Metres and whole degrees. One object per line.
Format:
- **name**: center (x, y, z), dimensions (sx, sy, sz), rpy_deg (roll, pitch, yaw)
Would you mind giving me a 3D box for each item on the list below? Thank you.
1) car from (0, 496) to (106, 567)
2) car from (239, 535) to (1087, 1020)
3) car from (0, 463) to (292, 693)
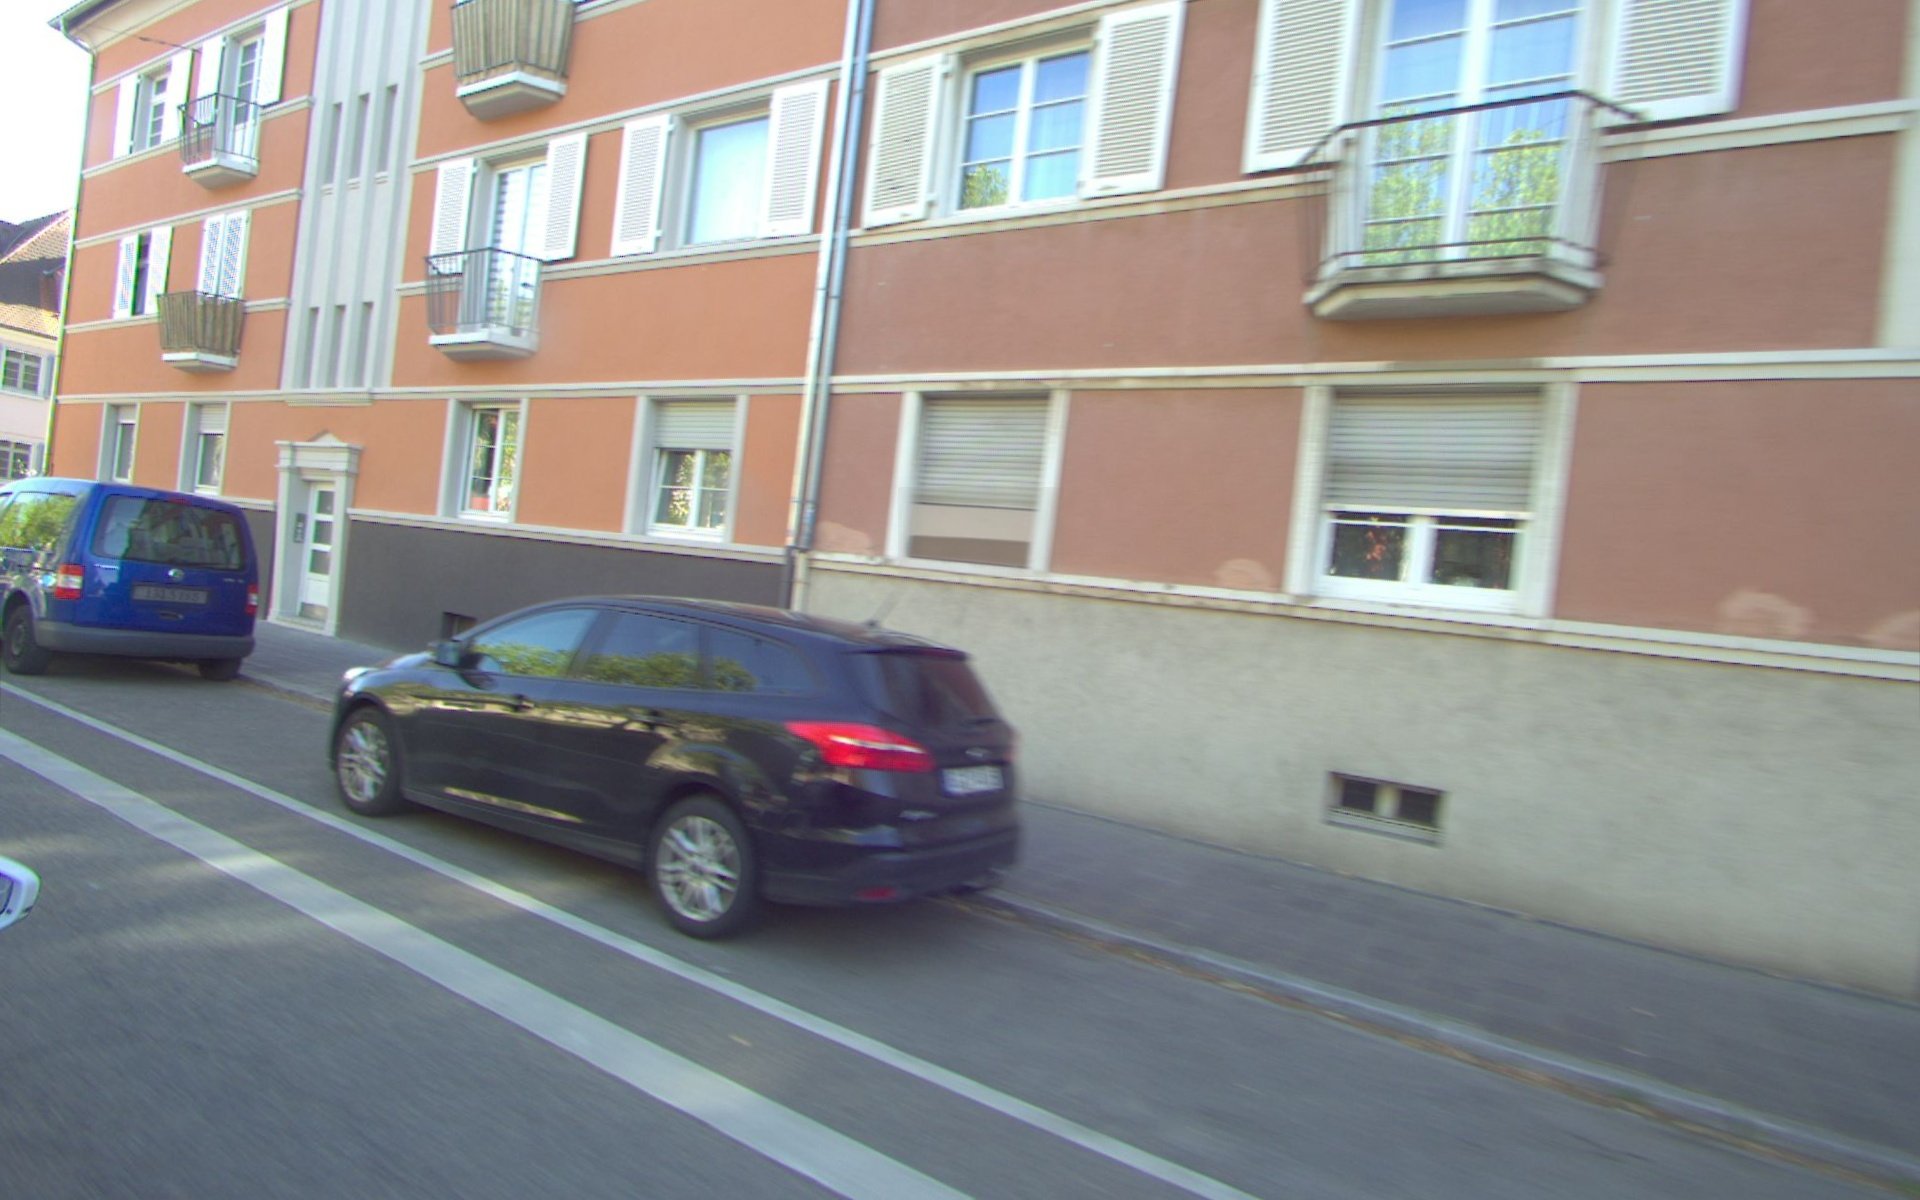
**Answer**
- **car**: center (-22.360, -1.645, 23.907), dimensions (4.441, 1.406, 1.705), rpy_deg (4, -1, 30)
- **car**: center (-1.857, 0.696, 5.766), dimensions (4.681, 1.528, 1.759), rpy_deg (7, -2, 29)
- **car**: center (-8.925, -0.302, 10.222), dimensions (4.199, 1.831, 1.707), rpy_deg (7, -2, 30)
